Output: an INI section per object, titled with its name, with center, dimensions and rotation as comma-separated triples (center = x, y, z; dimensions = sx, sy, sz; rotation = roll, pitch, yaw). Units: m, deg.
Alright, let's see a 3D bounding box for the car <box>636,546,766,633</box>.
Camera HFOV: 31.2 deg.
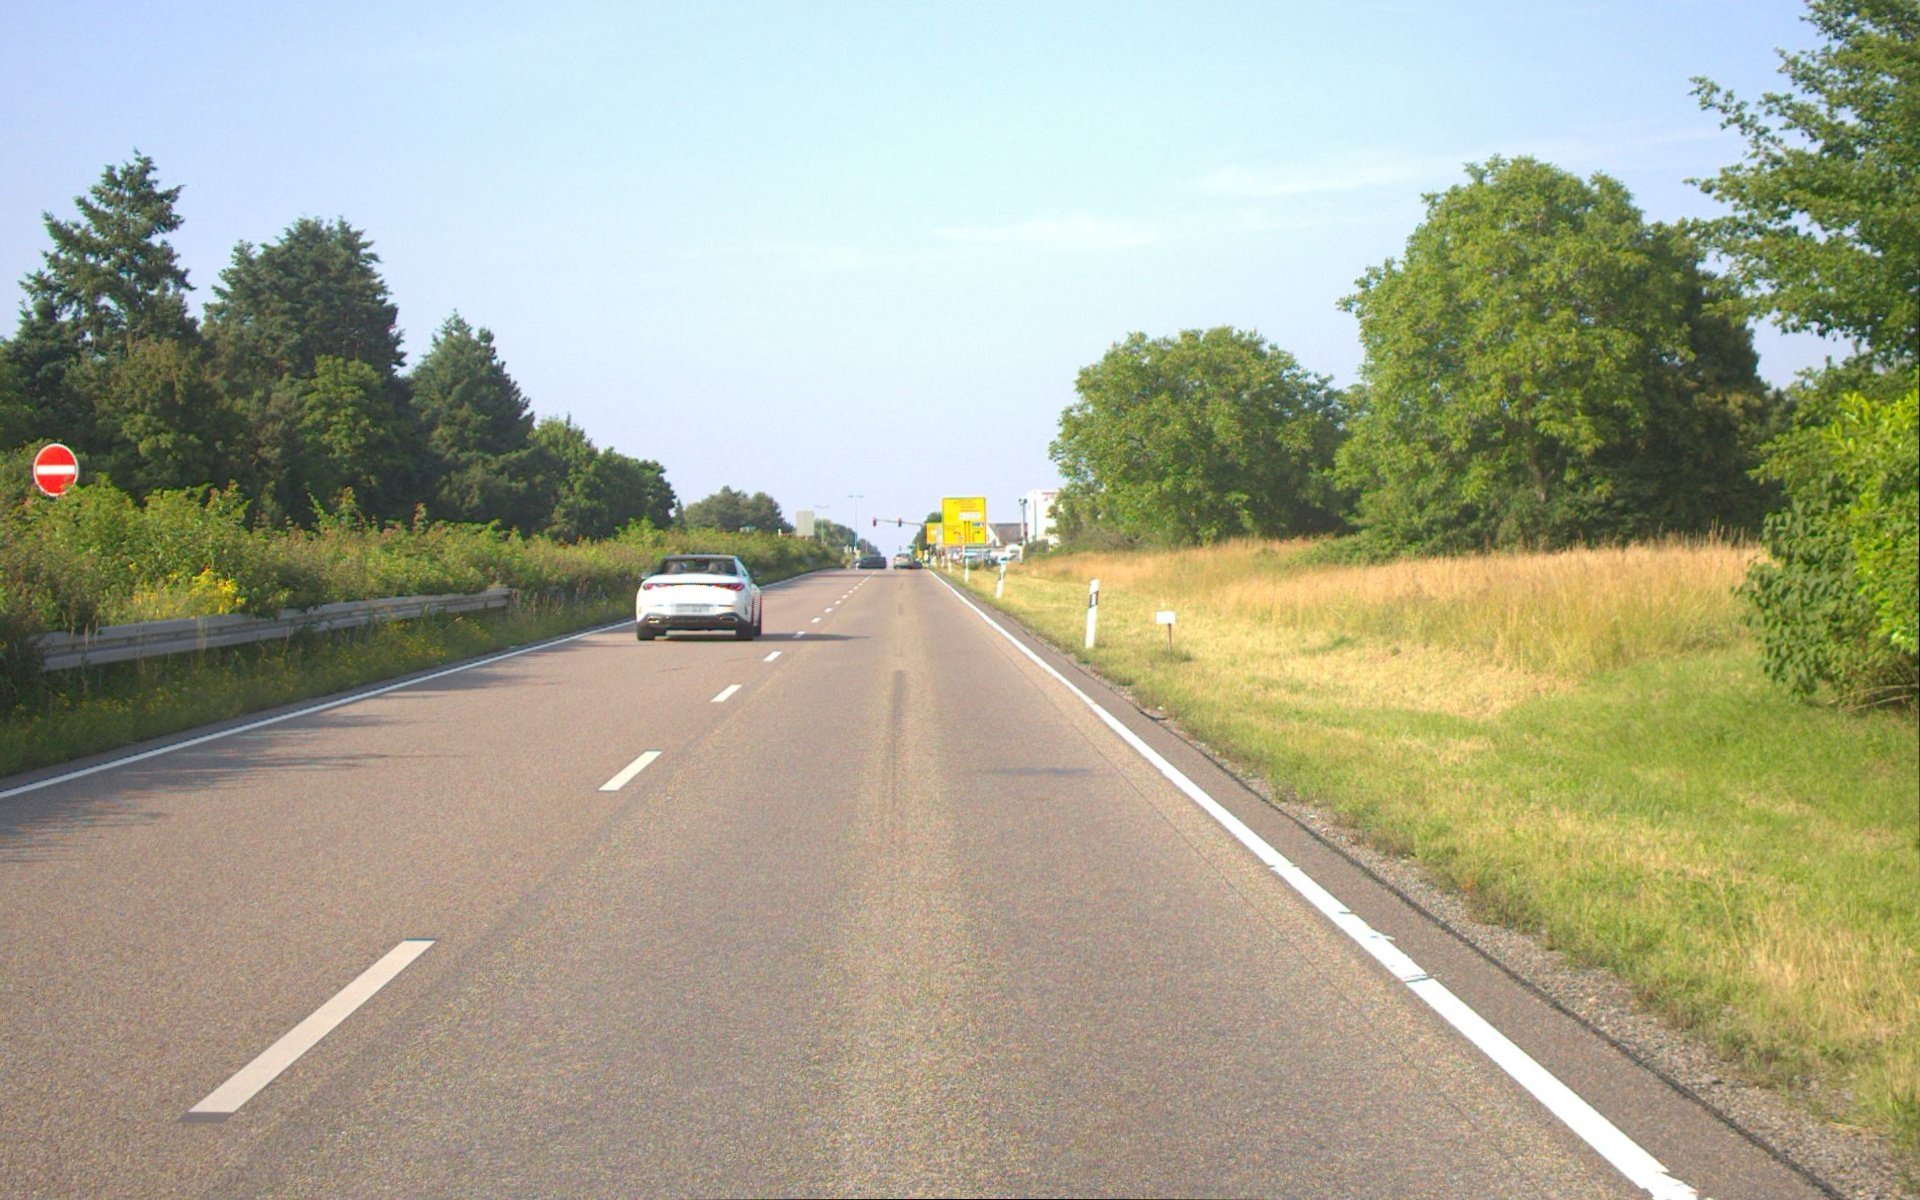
[car]
center = -4.180, -0.189, 56.138
dimensions = 1.771, 1.333, 4.950
rotation = 1, 1, 0
